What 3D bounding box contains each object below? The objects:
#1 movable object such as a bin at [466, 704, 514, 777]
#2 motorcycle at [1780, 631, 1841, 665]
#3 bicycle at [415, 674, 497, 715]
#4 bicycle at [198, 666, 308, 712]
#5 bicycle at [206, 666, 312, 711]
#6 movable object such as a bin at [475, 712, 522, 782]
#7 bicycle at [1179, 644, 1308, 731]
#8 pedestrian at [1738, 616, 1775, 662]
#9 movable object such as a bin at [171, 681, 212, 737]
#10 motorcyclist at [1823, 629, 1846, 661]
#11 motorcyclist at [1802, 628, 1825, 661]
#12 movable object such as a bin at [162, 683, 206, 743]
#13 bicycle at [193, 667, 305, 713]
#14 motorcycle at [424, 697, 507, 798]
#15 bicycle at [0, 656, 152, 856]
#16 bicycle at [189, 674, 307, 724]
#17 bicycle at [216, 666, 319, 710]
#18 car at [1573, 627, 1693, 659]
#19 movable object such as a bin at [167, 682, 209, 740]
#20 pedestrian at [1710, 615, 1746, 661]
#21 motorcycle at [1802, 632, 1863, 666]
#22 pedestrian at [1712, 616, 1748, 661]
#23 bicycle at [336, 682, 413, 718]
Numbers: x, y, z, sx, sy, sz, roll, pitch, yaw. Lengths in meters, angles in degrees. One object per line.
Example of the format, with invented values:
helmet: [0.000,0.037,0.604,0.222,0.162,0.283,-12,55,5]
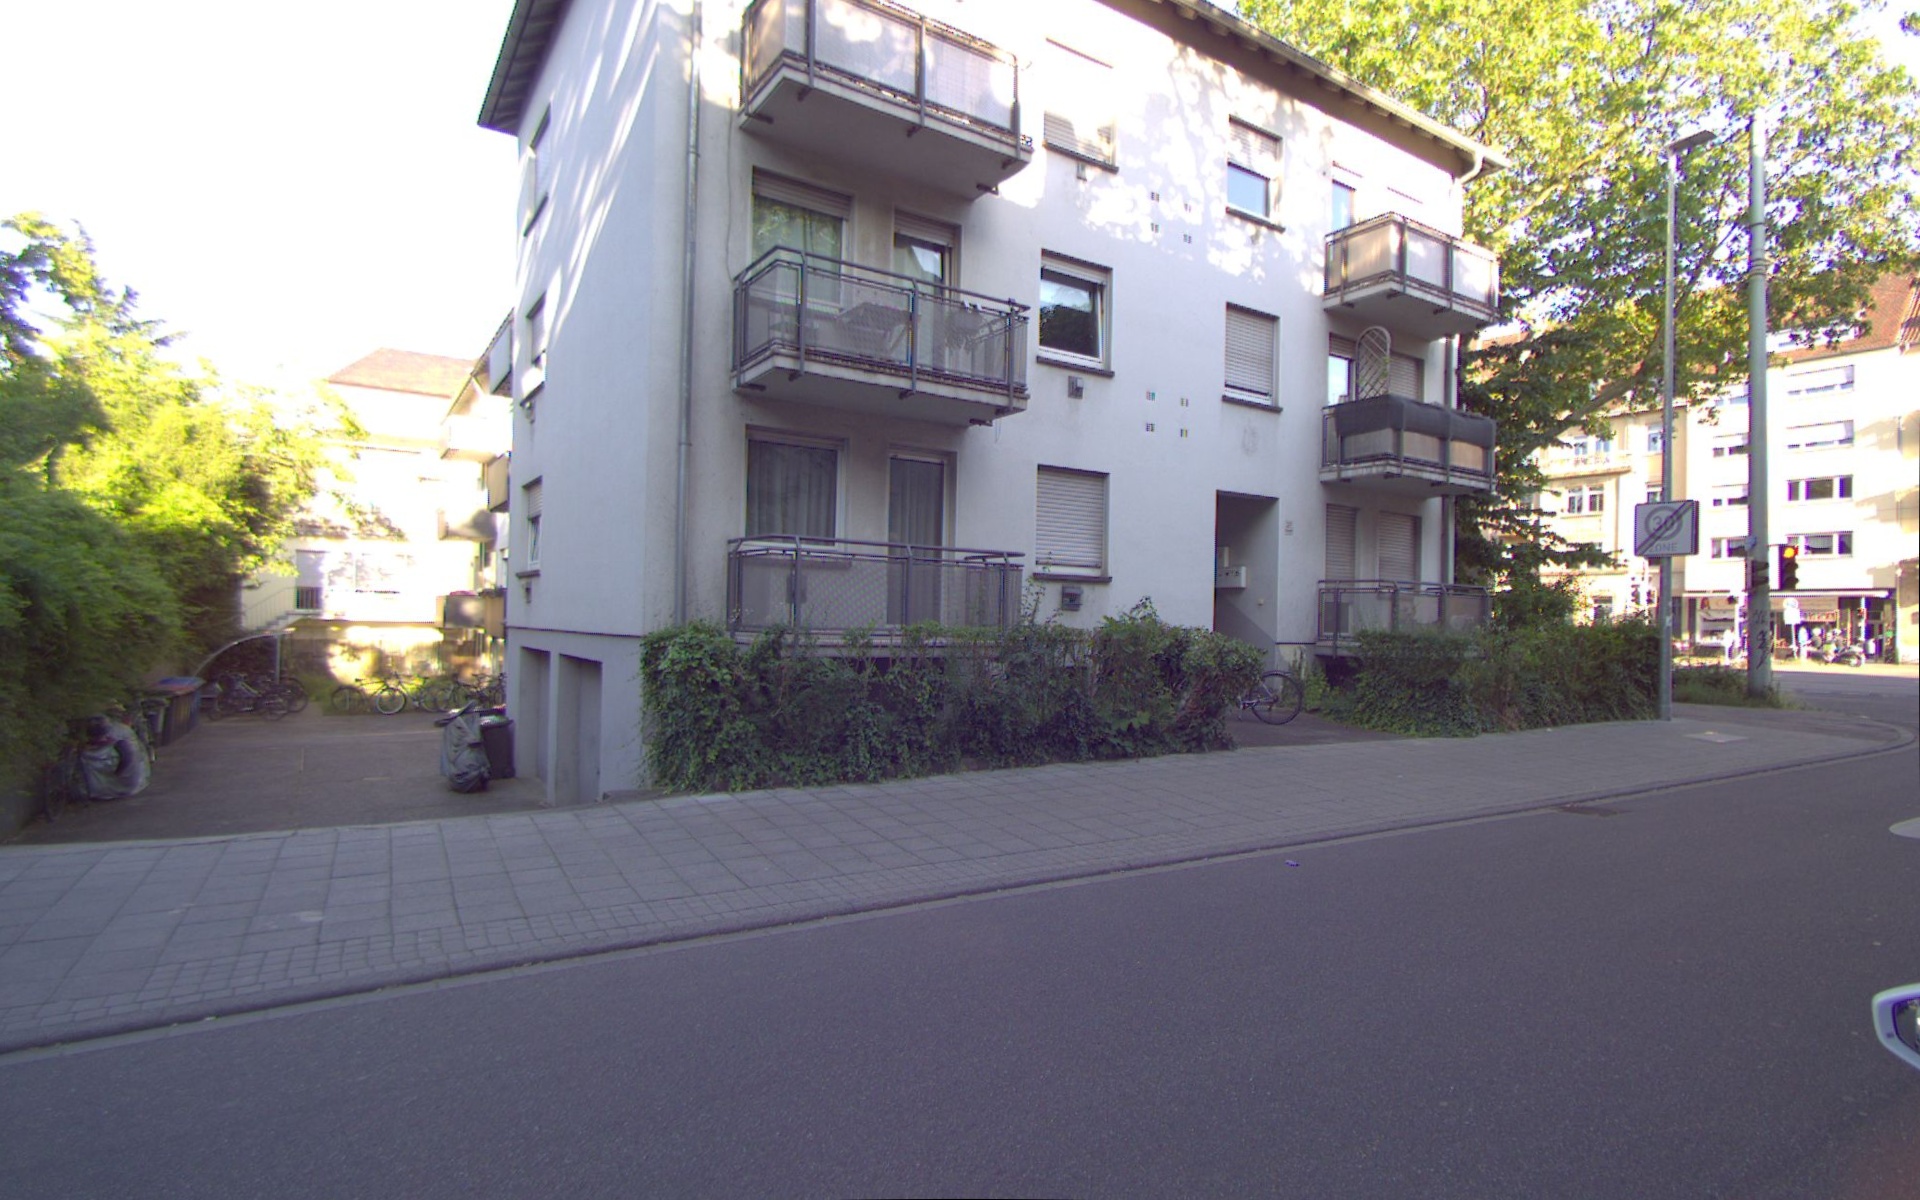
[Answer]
movable object such as a bin: [-7.914,2.343,16.908,0.606,1.129,0.795,1,-3,-33]
motorcycle: [38.702,2.159,45.729,0.562,1.471,2.021,1,-1,-33]
bicycle: [-13.909,2.596,27.751,1.982,1.085,0.561,2,-4,-30]
bicycle: [-19.024,2.381,27.096,2.311,1.192,0.689,2,-4,-30]
bicycle: [-19.370,2.430,27.821,2.311,1.192,0.689,2,-4,-30]
movable object such as a bin: [-7.398,2.342,16.095,0.606,1.051,0.534,1,-3,-34]
bicycle: [3.831,1.160,13.577,1.590,1.022,0.517,3,1,20]
pedestrian: [44.010,2.149,55.484,1.049,2.497,1.338,1,0,-34]
movable object such as a bin: [-16.360,2.308,21.391,0.606,1.129,0.795,1,-3,-33]
motorcyclist: [40.006,2.053,45.947,0.562,1.471,0.677,1,-1,-33]
motorcyclist: [38.761,2.004,45.635,0.562,1.471,0.677,1,-1,-33]
movable object such as a bin: [-15.487,2.245,20.059,0.606,1.129,0.795,1,-3,-33]
bicycle: [-18.598,2.349,26.350,2.311,1.148,0.689,2,-4,-30]
motorcycle: [-7.402,2.166,15.013,0.739,1.313,1.563,2,-2,-41]
bicycle: [-10.599,1.670,11.985,0.961,1.917,4.156,1,-2,-32]
bicycle: [-17.334,2.405,24.531,2.268,1.148,0.689,2,-4,-30]
bicycle: [-19.640,2.476,28.546,2.311,1.192,0.689,2,-4,-30]
car: [34.709,2.185,51.945,1.839,1.471,4.855,1,-1,-33]
movable object such as a bin: [-15.928,2.278,20.730,0.606,1.129,0.795,1,-3,-33]
pedestrian: [42.552,2.090,55.658,1.049,2.497,1.338,1,0,-34]
motorcycle: [39.957,2.223,46.021,0.562,1.471,2.021,1,-1,-33]
pedestrian: [43.743,2.146,57.042,1.049,2.497,1.338,1,0,-34]
bicycle: [-15.564,2.648,26.751,1.734,0.890,0.561,2,-4,-30]
